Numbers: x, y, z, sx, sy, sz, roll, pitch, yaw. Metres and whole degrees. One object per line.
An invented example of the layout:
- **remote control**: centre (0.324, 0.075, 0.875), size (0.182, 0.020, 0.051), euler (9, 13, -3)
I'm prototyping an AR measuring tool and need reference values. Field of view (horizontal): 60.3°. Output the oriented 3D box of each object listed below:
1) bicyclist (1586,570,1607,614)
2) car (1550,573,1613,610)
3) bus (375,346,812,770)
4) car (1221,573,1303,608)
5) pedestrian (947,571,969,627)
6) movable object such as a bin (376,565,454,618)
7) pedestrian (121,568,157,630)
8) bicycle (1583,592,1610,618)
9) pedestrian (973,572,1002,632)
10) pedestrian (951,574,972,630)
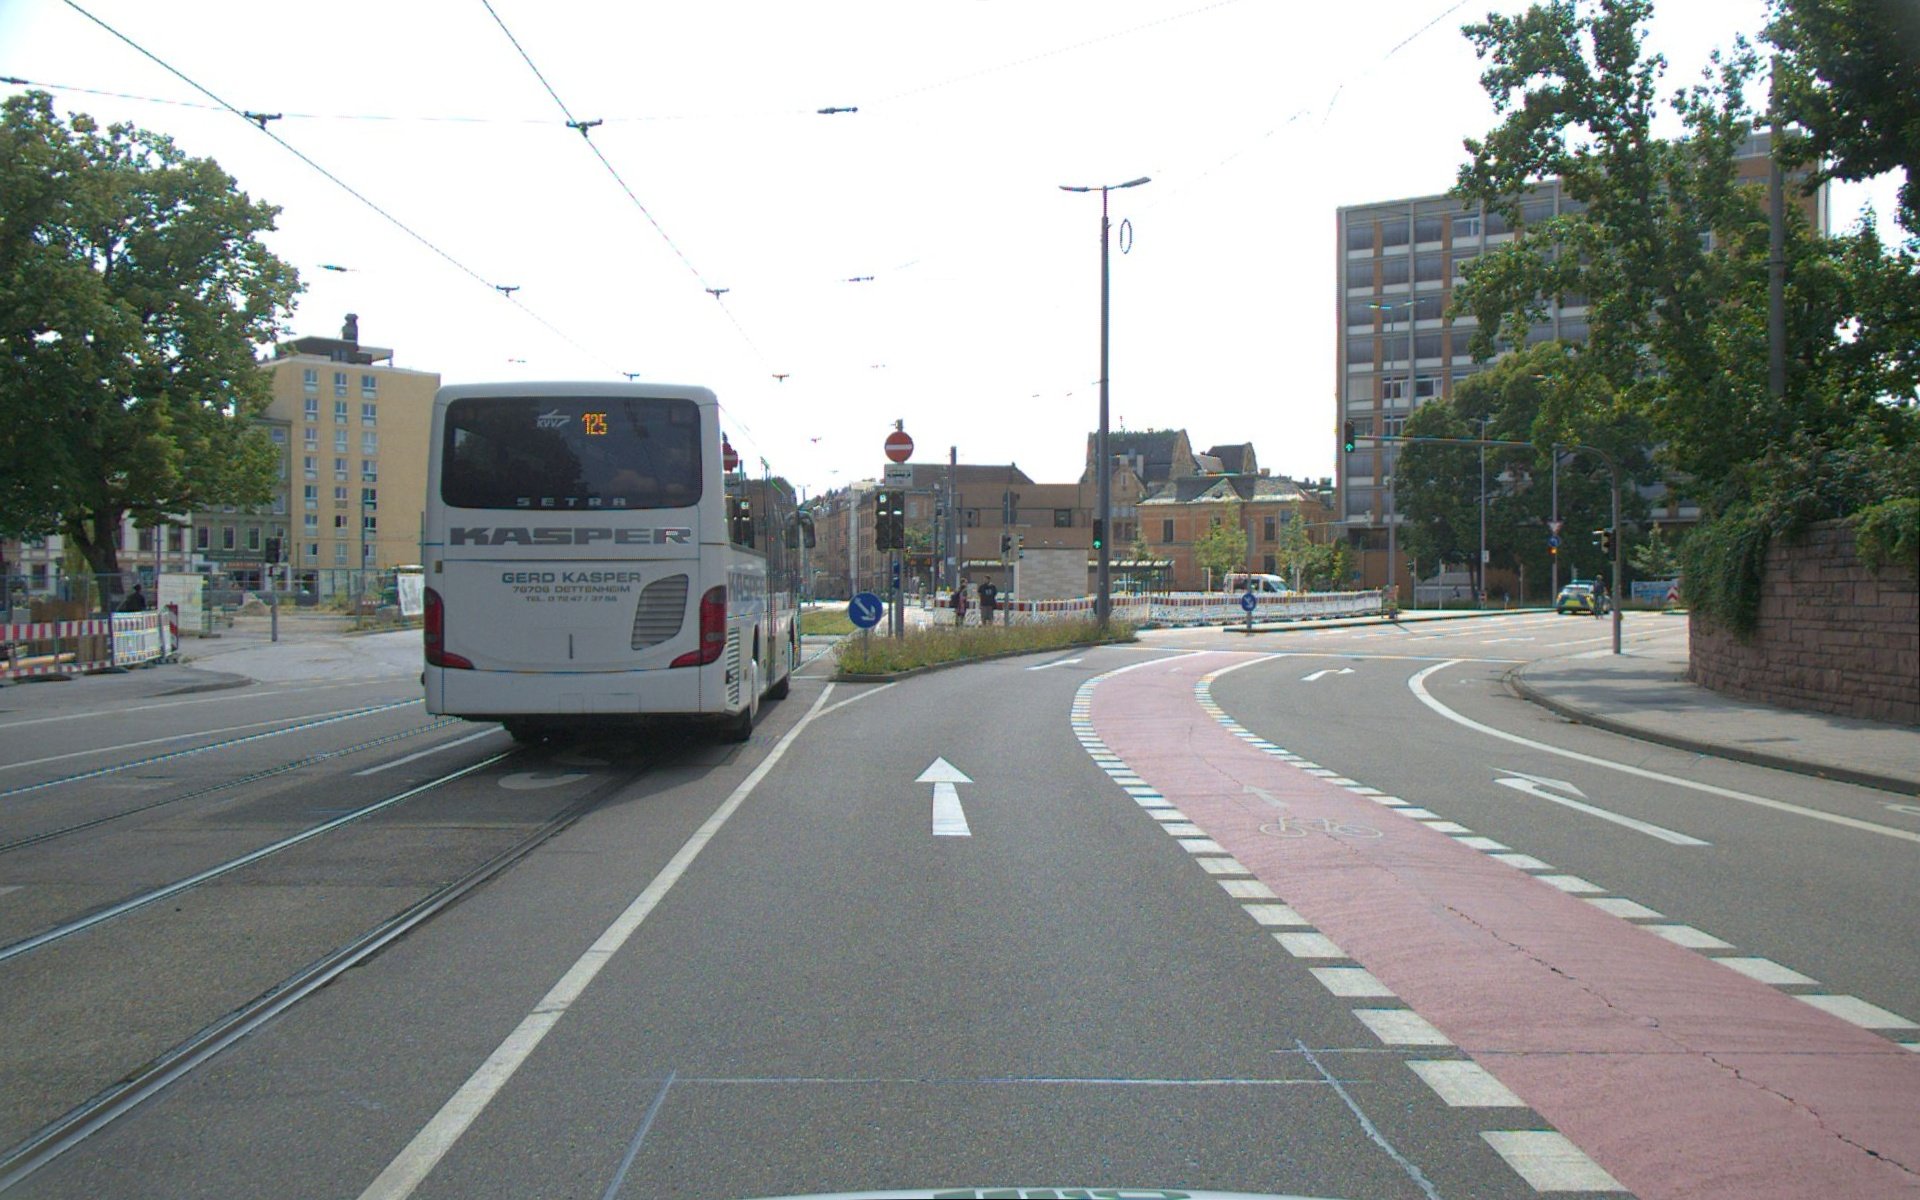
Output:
- **bicyclist**: centre (29.023, -0.366, 75.424), size (0.705, 2.008, 0.837), euler (0, 1, 33)
- **car**: centre (30.975, -0.435, 82.400), size (2.092, 1.713, 4.091), euler (2, 2, 33)
- **bus**: centre (-3.503, -0.358, 19.500), size (2.859, 3.386, 12.200), euler (1, 0, -2)
- **car**: centre (20.719, -0.657, 113.649), size (2.278, 2.359, 5.514), euler (0, 0, -37)
- **pedestrian**: centre (-0.073, -0.037, 51.789), size (0.600, 1.736, 0.621), euler (0, 0, -10)
- **movable object such as a bin**: centre (-27.674, -0.444, 84.127), size (2.587, 2.619, 4.000), euler (0, 0, 1)
- **pedestrian**: centre (-22.571, -0.026, 45.477), size (0.781, 1.681, 0.572), euler (0, 1, -38)
- **bicycle**: centre (29.025, 0.216, 75.427), size (0.708, 1.103, 2.185), euler (0, 1, 33)
- **pedestrian**: centre (0.900, 0.051, 53.304), size (0.779, 1.917, 0.610), euler (0, 0, -19)
- **pedestrian**: centre (0.055, 0.061, 52.795), size (0.401, 1.766, 0.620), euler (0, 0, 30)
